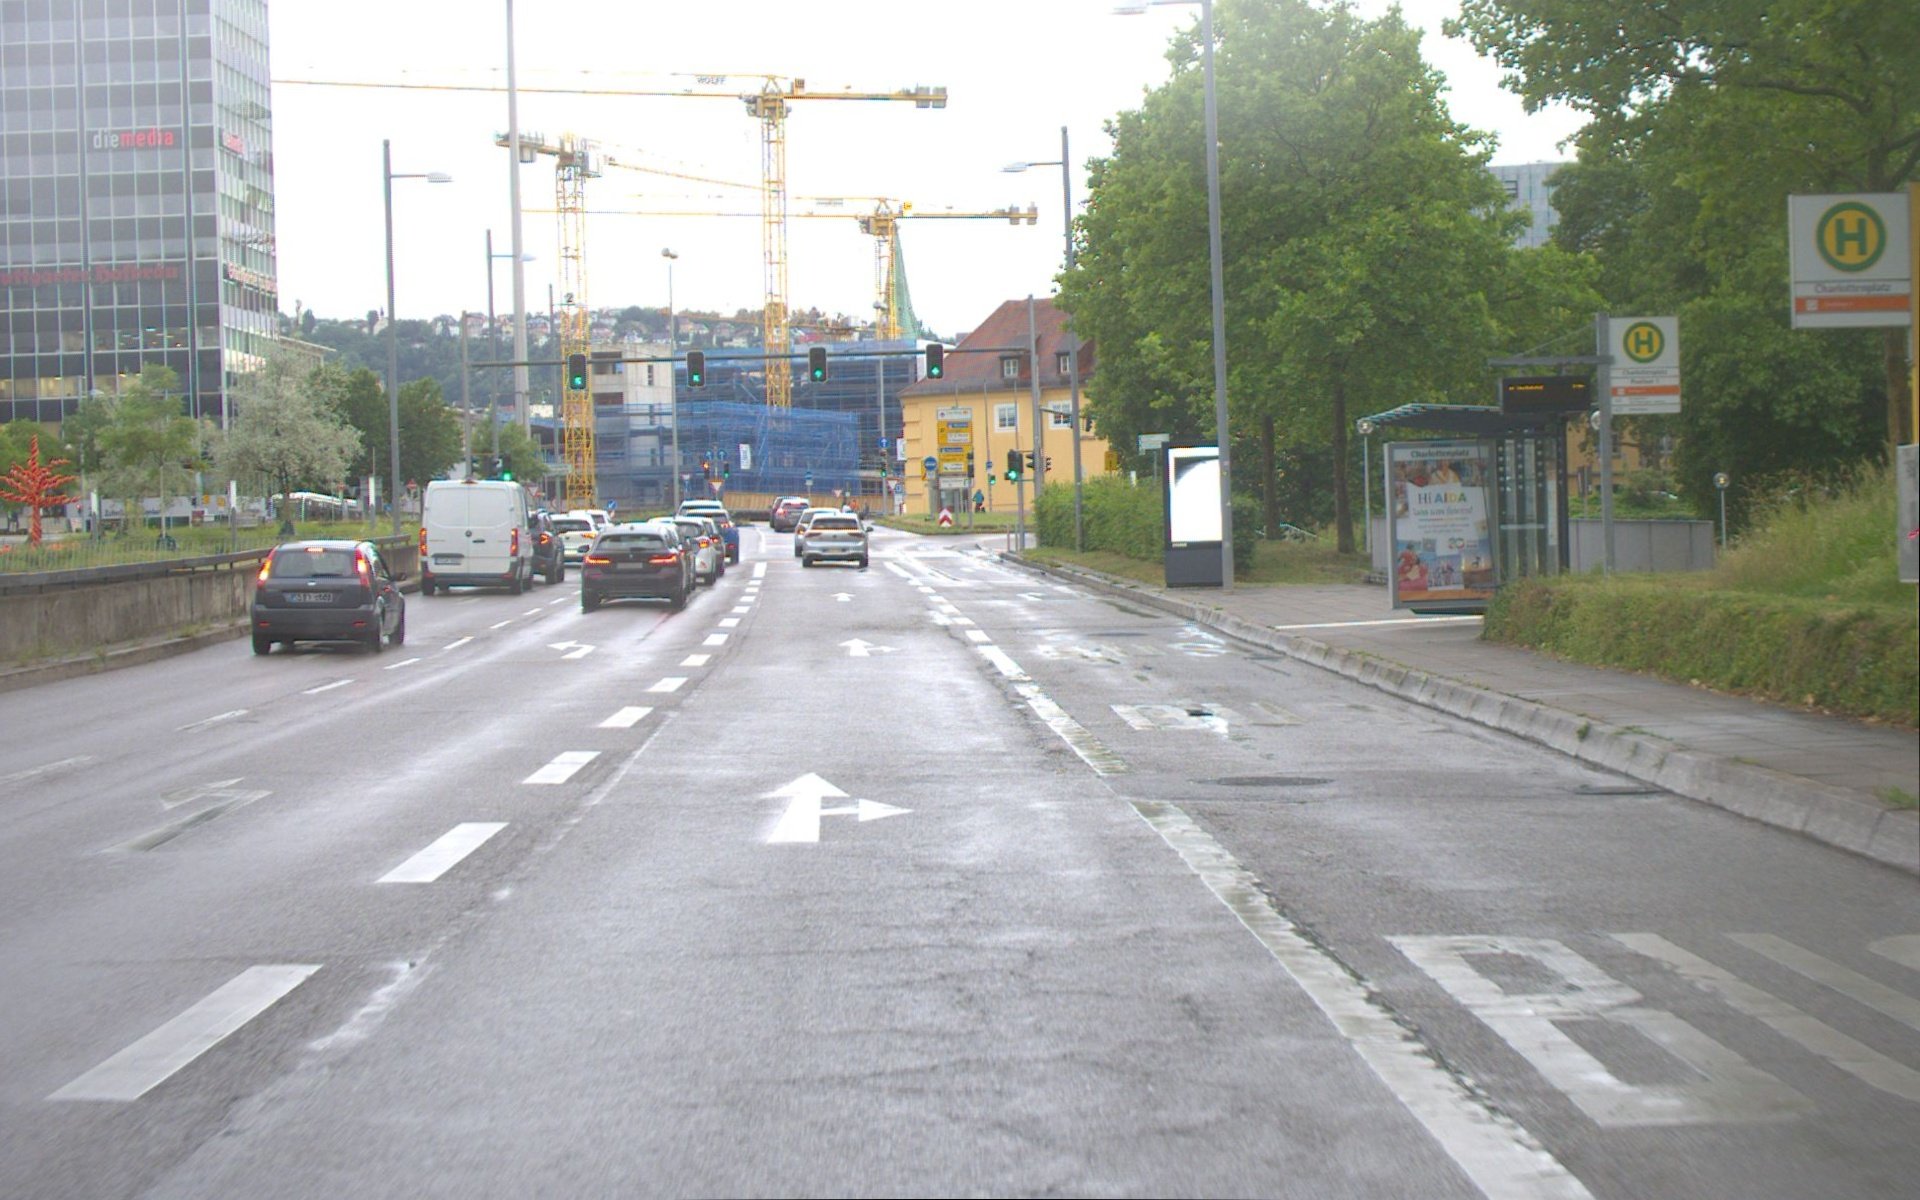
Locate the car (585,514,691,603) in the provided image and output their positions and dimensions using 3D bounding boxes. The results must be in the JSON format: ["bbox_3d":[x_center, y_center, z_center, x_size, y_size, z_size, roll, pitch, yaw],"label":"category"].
[{"bbox_3d":[-5.744,-0.767,61.690,1.753,1.466,4.223,0,2,-4],"label":"car"}]

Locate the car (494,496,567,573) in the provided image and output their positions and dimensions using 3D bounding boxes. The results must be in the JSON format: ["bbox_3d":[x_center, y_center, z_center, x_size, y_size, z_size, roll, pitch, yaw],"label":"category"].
[{"bbox_3d":[-9.636,-1.450,77.265,1.464,1.700,3.142,0,0,-4],"label":"car"}]

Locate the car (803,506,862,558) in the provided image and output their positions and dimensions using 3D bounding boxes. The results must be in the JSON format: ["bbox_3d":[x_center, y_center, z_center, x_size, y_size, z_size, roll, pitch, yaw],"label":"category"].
[{"bbox_3d":[-3.394,-1.799,91.723,1.444,1.354,2.412,0,0,1],"label":"car"}]

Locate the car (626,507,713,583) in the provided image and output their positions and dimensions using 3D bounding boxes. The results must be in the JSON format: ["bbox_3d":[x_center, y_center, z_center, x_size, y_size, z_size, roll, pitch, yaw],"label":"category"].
[{"bbox_3d":[-6.438,-1.198,76.143,1.880,1.647,3.458,0,0,-5],"label":"car"}]

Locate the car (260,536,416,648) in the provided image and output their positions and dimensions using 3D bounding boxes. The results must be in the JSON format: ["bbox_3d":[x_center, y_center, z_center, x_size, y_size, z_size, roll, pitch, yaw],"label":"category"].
[{"bbox_3d":[-8.160,-0.121,45.347,1.542,1.410,3.902,0,1,-3],"label":"car"}]

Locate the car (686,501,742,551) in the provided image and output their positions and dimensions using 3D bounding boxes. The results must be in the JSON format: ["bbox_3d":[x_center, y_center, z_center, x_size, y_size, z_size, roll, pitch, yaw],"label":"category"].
[{"bbox_3d":[-6.885,-2.073,96.481,1.493,1.365,3.034,0,0,-3],"label":"car"}]

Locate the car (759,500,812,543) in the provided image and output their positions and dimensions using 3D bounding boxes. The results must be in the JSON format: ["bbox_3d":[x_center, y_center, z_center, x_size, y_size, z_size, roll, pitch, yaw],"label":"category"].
[{"bbox_3d":[-7.851,-3.506,154.974,2.161,1.873,3.770,0,0,1],"label":"car"}]

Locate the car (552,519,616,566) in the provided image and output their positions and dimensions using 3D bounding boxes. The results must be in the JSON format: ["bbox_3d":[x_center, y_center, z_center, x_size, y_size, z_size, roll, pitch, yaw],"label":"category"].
[{"bbox_3d":[-10.122,-1.537,92.559,1.551,1.256,2.581,0,0,-3],"label":"car"}]

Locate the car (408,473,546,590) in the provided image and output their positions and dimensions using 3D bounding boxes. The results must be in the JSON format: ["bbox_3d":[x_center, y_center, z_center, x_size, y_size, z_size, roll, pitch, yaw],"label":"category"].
[{"bbox_3d":[-9.886,-1.376,70.729,2.292,2.306,5.006,0,0,-2],"label":"car"}]

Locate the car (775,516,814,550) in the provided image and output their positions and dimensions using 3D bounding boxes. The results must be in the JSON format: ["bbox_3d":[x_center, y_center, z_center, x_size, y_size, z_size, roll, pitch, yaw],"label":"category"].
[{"bbox_3d":[-4.997,-2.027,103.884,1.076,0.987,1.971,0,0,1],"label":"car"}]
